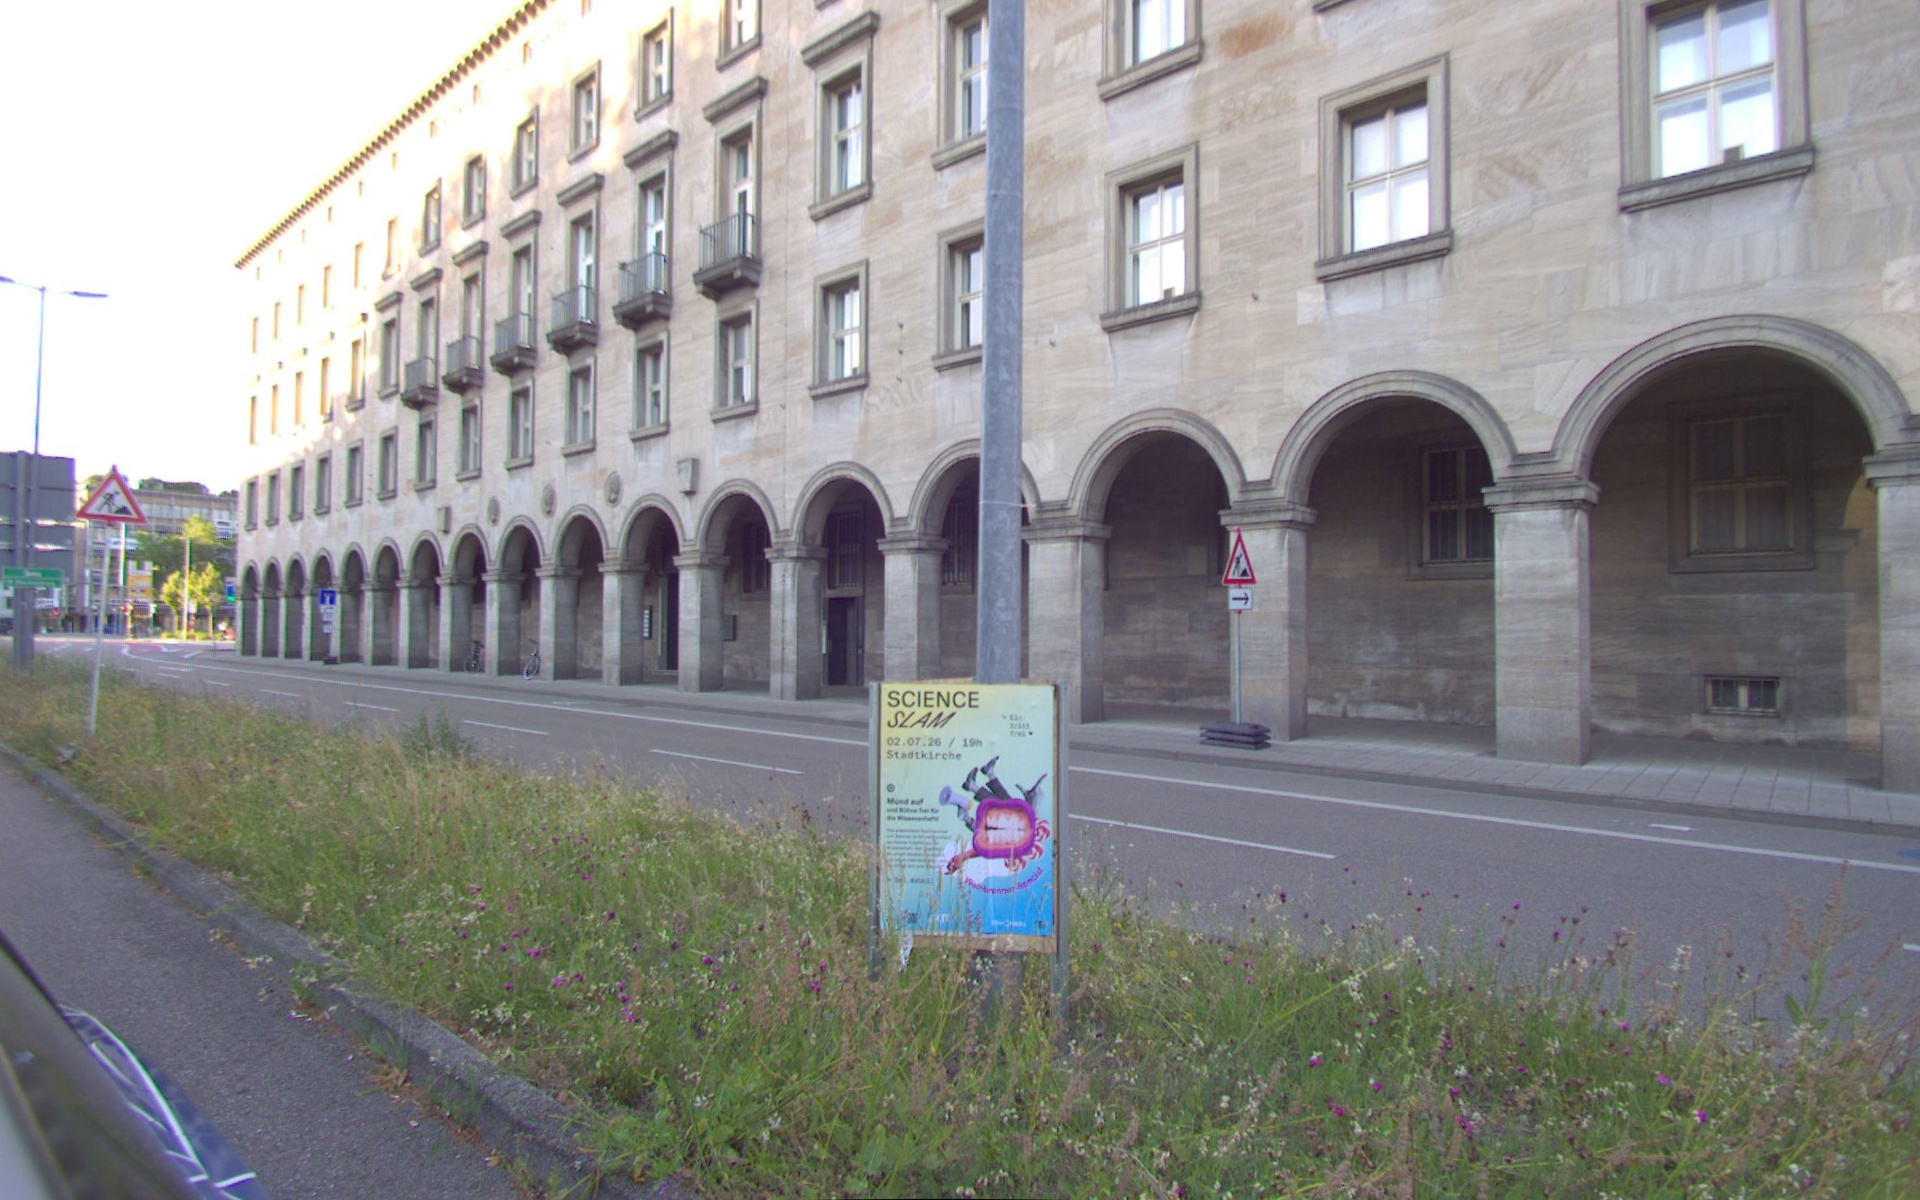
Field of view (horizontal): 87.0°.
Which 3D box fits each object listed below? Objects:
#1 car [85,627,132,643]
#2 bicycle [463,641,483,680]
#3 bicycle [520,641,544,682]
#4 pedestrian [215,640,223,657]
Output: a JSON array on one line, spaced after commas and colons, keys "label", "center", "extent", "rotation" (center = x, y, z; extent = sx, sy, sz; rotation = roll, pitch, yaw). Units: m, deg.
[{"label": "car", "center": [-109.374, 4.493, 130.058], "extent": [2.000, 2.029, 4.378], "rotation": [-2, -3, 43]}, {"label": "bicycle", "center": [-15.422, 1.901, 32.068], "extent": [0.505, 1.188, 2.431], "rotation": [1, -2, -25]}, {"label": "bicycle", "center": [-12.871, 1.842, 30.473], "extent": [0.505, 1.130, 2.431], "rotation": [1, -1, -20]}, {"label": "pedestrian", "center": [-67.691, 4.400, 92.465], "extent": [0.389, 1.553, 0.519], "rotation": [-2, -3, 41]}]
